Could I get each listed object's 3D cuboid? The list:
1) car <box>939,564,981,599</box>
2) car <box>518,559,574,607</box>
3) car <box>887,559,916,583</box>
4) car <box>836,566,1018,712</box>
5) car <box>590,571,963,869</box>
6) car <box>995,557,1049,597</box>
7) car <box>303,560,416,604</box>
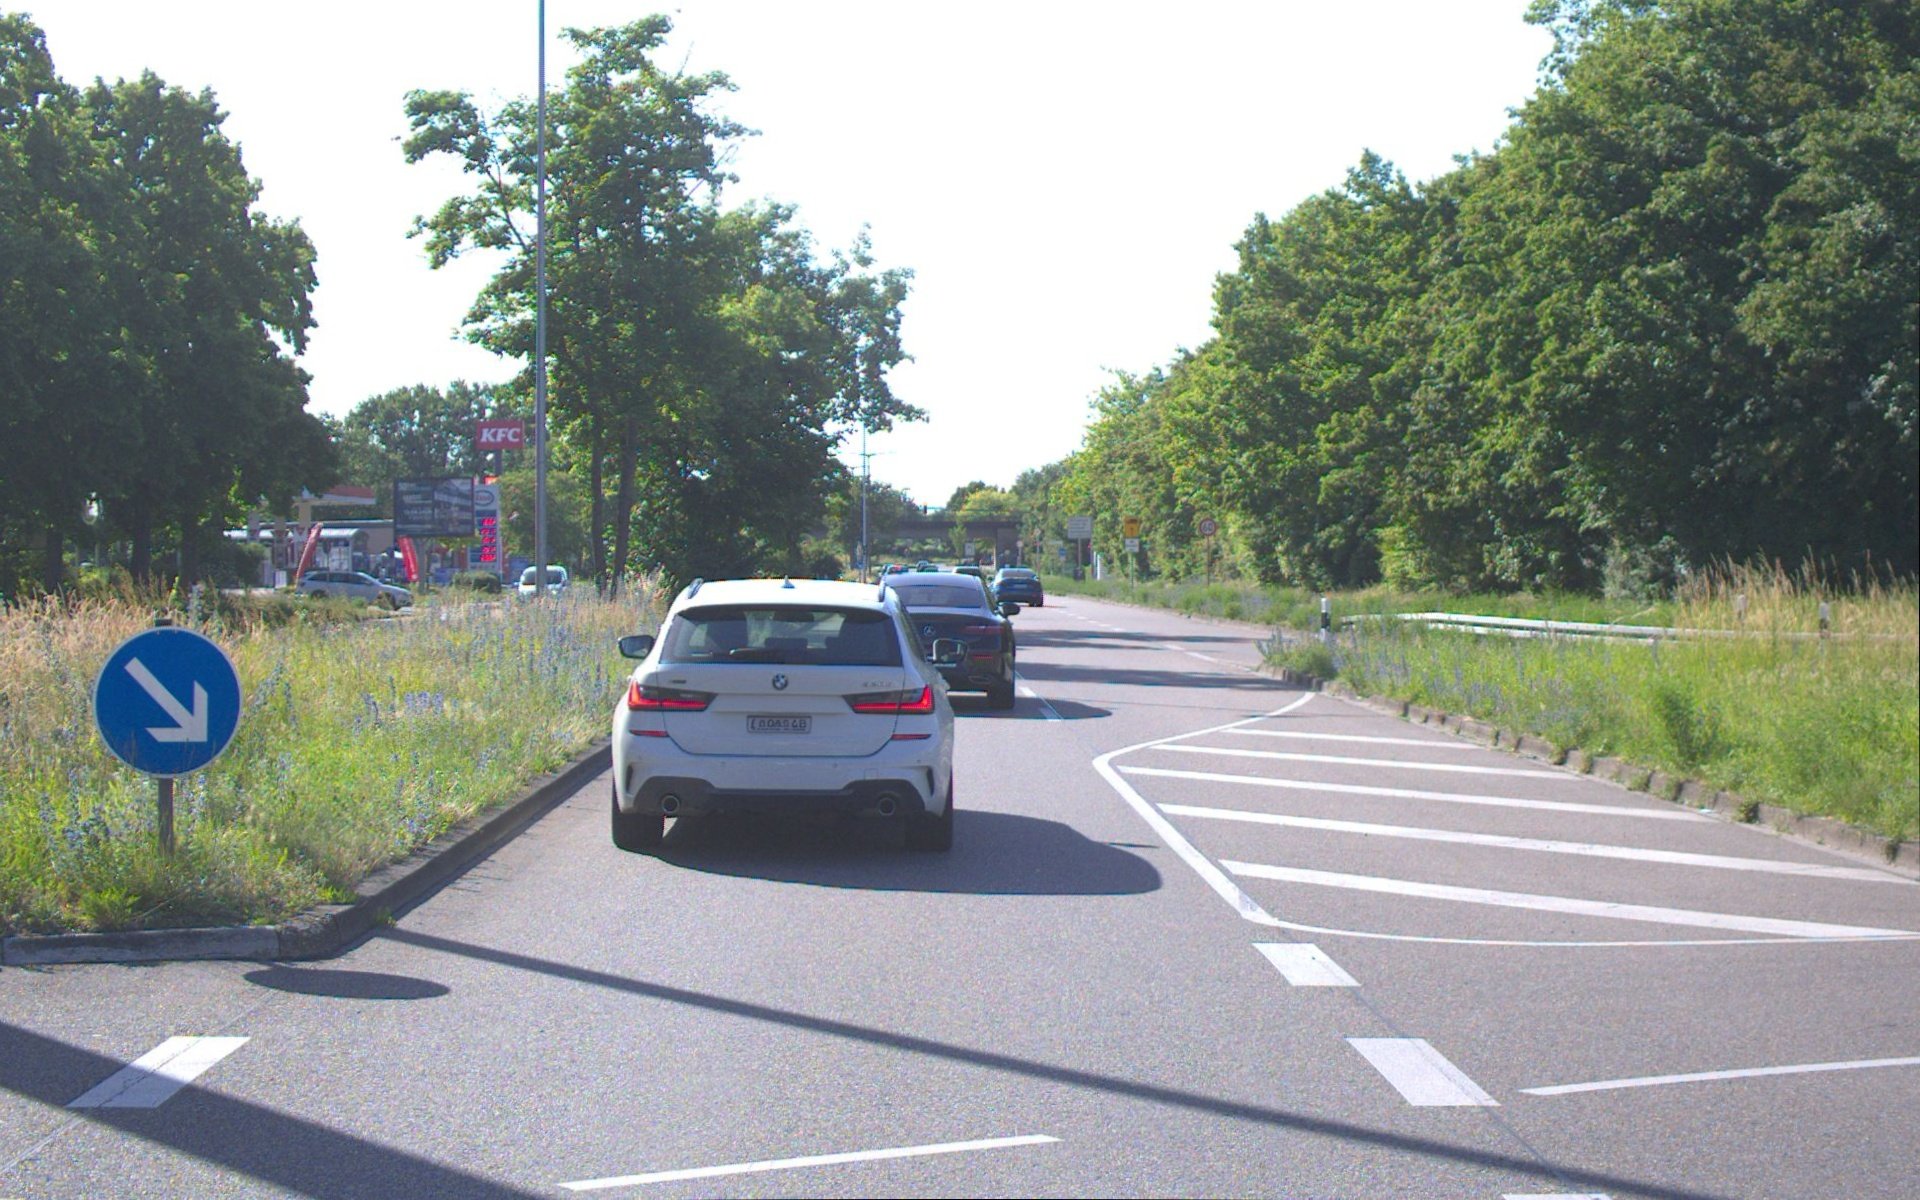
[{"bbox_3d":[-0.024,-0.874,160.712,1.771,1.550,3.833,-1,1,-3],"label":"car"},{"bbox_3d":[-15.109,-0.632,125.592,1.706,1.740,4.166,0,1,-2],"label":"car"},{"bbox_3d":[-3.860,-1.902,227.271,1.861,1.560,4.548,0,1,-1],"label":"car"},{"bbox_3d":[-0.391,0.380,37.736,1.861,1.450,4.548,-1,1,-1],"label":"car"},{"bbox_3d":[-0.952,0.587,19.569,1.861,1.450,4.548,1,1,-1],"label":"car"},{"bbox_3d":[2.323,-0.869,129.716,1.861,1.494,4.337,0,1,-1],"label":"car"},{"bbox_3d":[-23.882,-0.723,136.777,4.110,1.656,1.893,-1,1,2],"label":"car"}]
